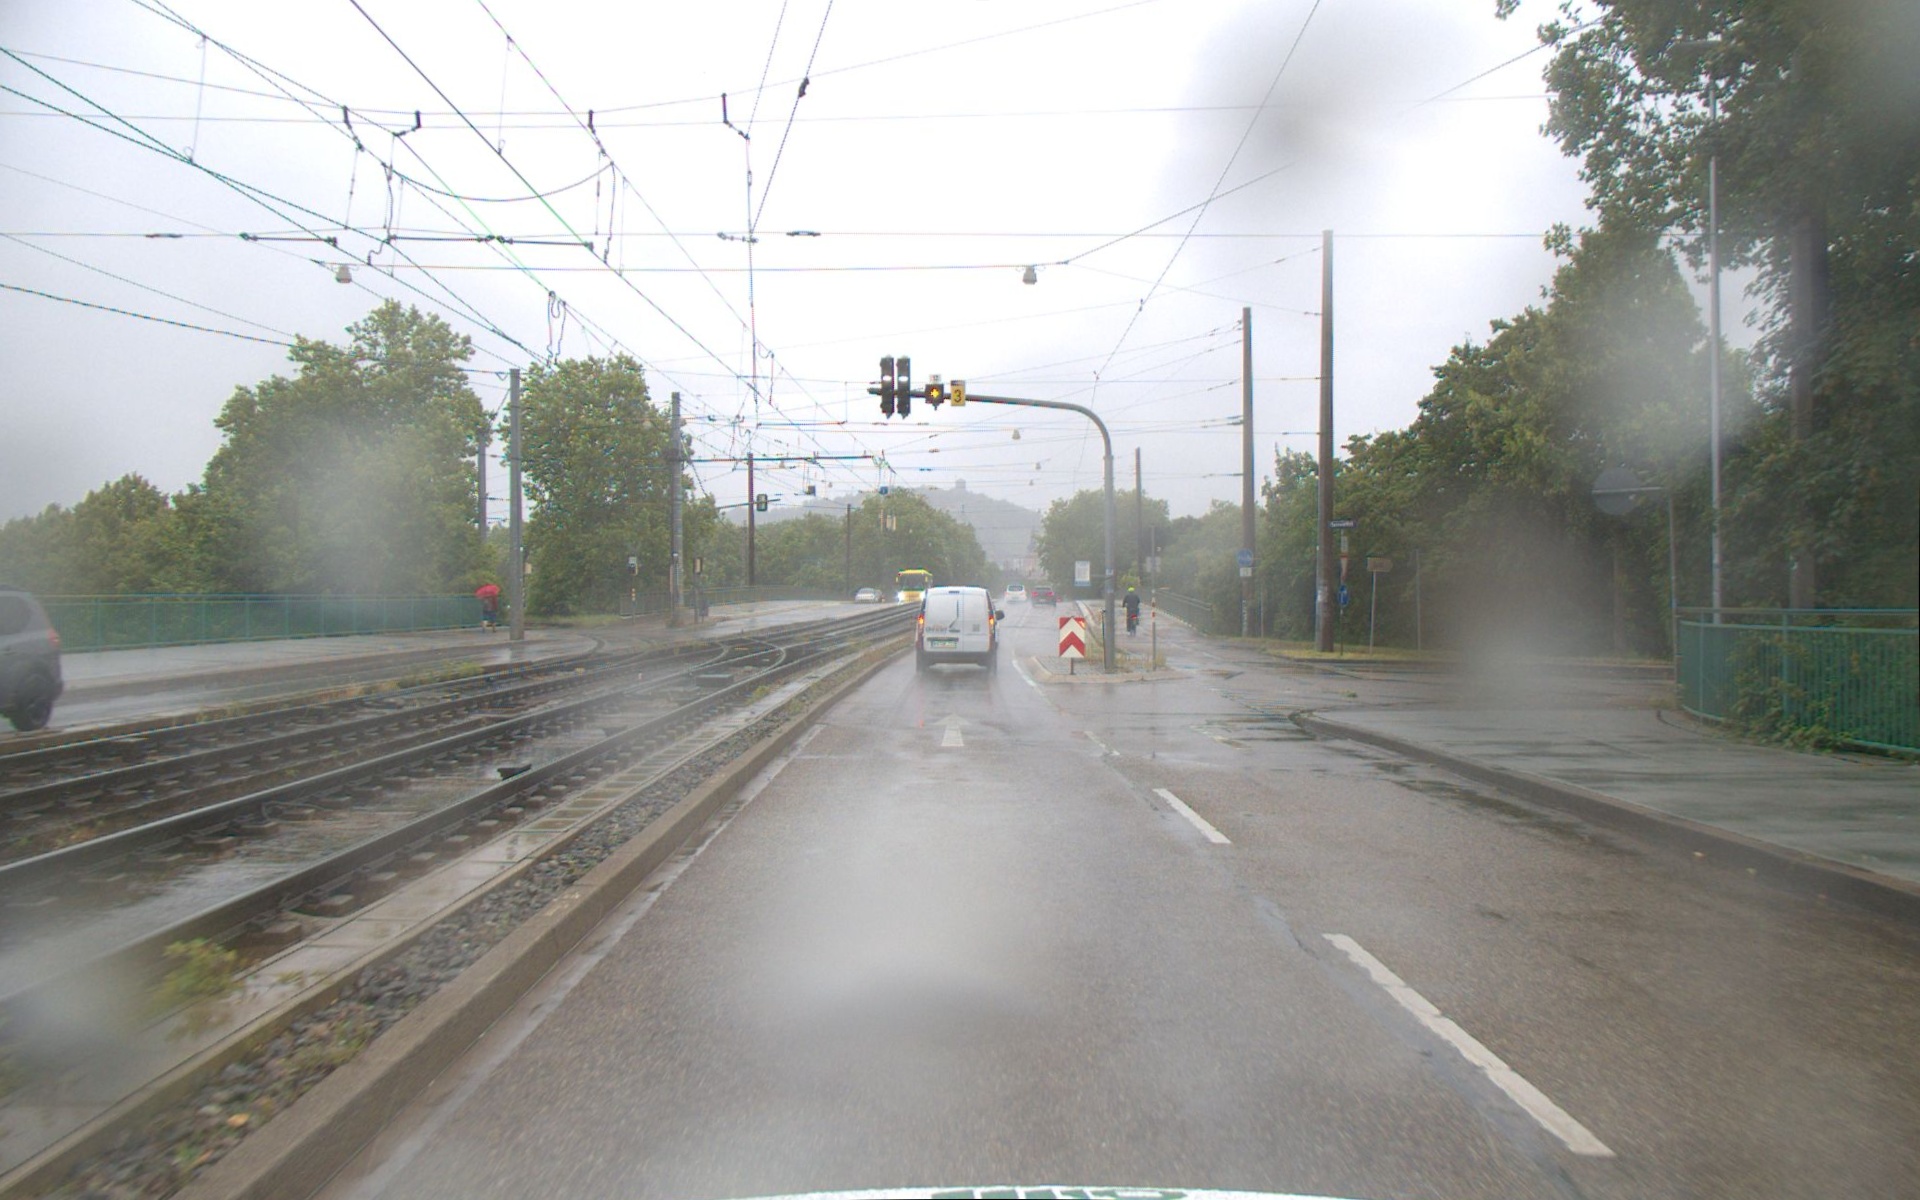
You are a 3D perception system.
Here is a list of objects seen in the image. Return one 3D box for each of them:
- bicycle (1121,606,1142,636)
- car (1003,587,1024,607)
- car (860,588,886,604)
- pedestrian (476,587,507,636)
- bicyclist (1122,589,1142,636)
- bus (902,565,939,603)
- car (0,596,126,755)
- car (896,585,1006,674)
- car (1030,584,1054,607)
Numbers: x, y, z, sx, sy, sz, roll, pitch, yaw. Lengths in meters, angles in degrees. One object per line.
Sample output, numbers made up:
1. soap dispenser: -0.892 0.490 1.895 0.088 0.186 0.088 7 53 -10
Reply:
1. bicycle: 6.735 0.824 65.139 0.708 1.148 2.169 1 0 3
2. car: 4.138 -0.216 128.005 1.421 1.526 2.981 1 -1 -1
3. car: -7.954 -0.374 151.985 1.894 1.252 4.102 -2 2 3
4. pedestrian: -17.974 0.433 63.490 0.846 1.850 1.043 1 -1 1
5. bicyclist: 6.754 0.499 65.077 0.710 1.794 0.949 1 -1 3
6. bus: -3.818 -1.647 163.195 2.652 3.399 10.999 -2 2 3
7. car: -11.281 0.801 17.781 1.953 1.677 5.370 1 0 -1
8. car: -0.127 0.623 35.806 1.951 1.756 4.002 1 -1 5
9. car: 5.753 -0.295 116.134 1.421 1.526 2.981 1 -1 -1
